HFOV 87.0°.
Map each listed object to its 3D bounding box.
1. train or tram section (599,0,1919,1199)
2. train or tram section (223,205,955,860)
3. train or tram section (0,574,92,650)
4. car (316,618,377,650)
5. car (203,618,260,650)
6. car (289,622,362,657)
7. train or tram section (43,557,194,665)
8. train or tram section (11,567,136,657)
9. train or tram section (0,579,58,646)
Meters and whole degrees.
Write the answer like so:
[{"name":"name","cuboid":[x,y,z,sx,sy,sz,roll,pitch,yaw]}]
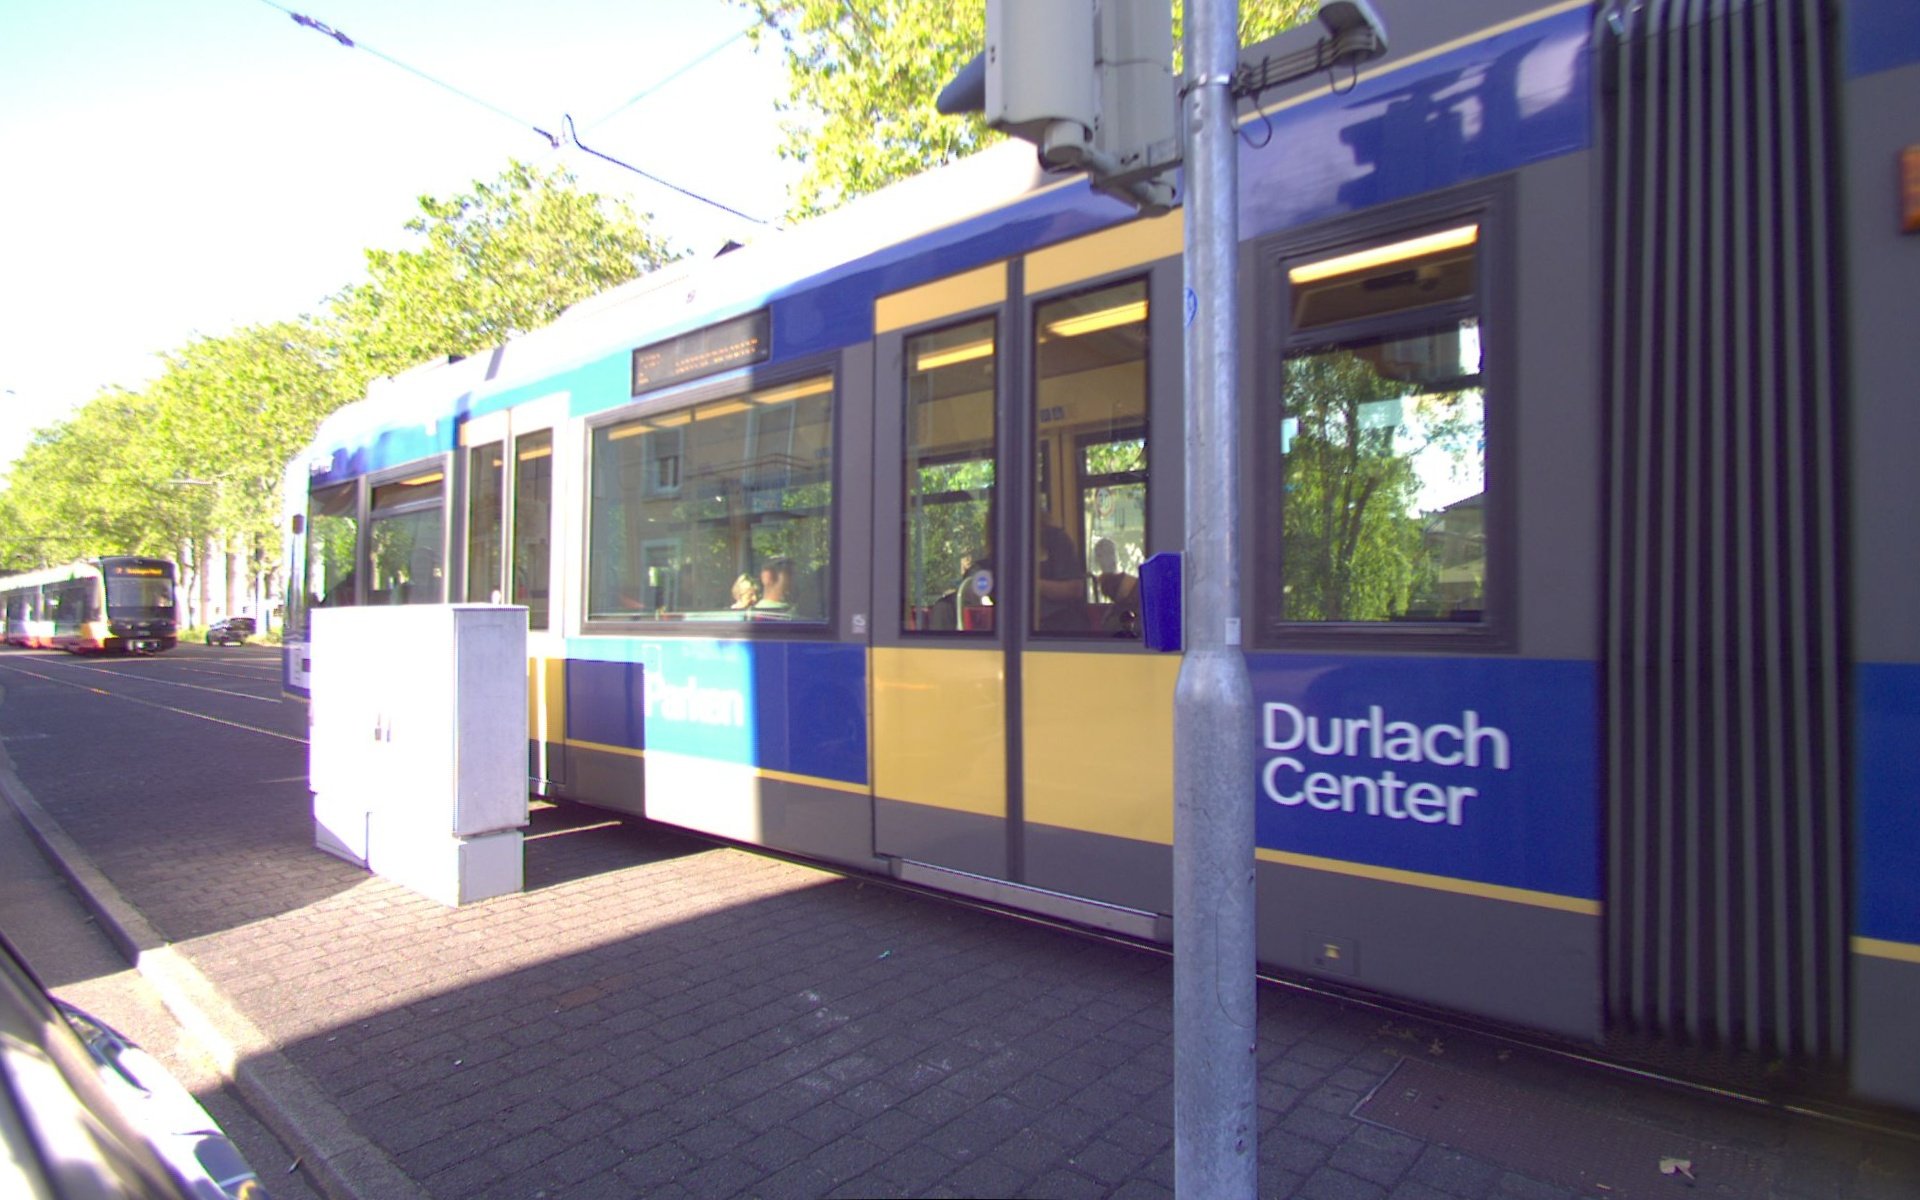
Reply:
[{"name":"train or tram section","cuboid":[2.110,-0.447,3.768,8.458,3.526,2.785,-2,-2,41]},{"name":"train or tram section","cuboid":[-3.932,-0.283,9.143,7.959,3.526,2.785,-2,-2,42]},{"name":"train or tram section","cuboid":[-46.208,0.579,50.633,10.179,3.503,2.806,-1,0,41]},{"name":"car","cuboid":[-32.758,1.805,53.982,3.659,1.603,1.732,-1,1,41]},{"name":"car","cuboid":[-40.672,1.879,56.489,4.098,1.628,1.821,-1,1,44]},{"name":"car","cuboid":[-28.981,1.768,46.188,4.001,1.418,1.821,-1,1,44]},{"name":"train or tram section","cuboid":[-31.053,0.394,37.118,10.180,3.503,2.824,-1,0,42]},{"name":"train or tram section","cuboid":[-38.625,0.519,43.917,10.179,3.503,2.806,-1,0,42]},{"name":"train or tram section","cuboid":[-53.813,0.709,57.370,10.179,3.503,2.806,-1,0,41]}]
